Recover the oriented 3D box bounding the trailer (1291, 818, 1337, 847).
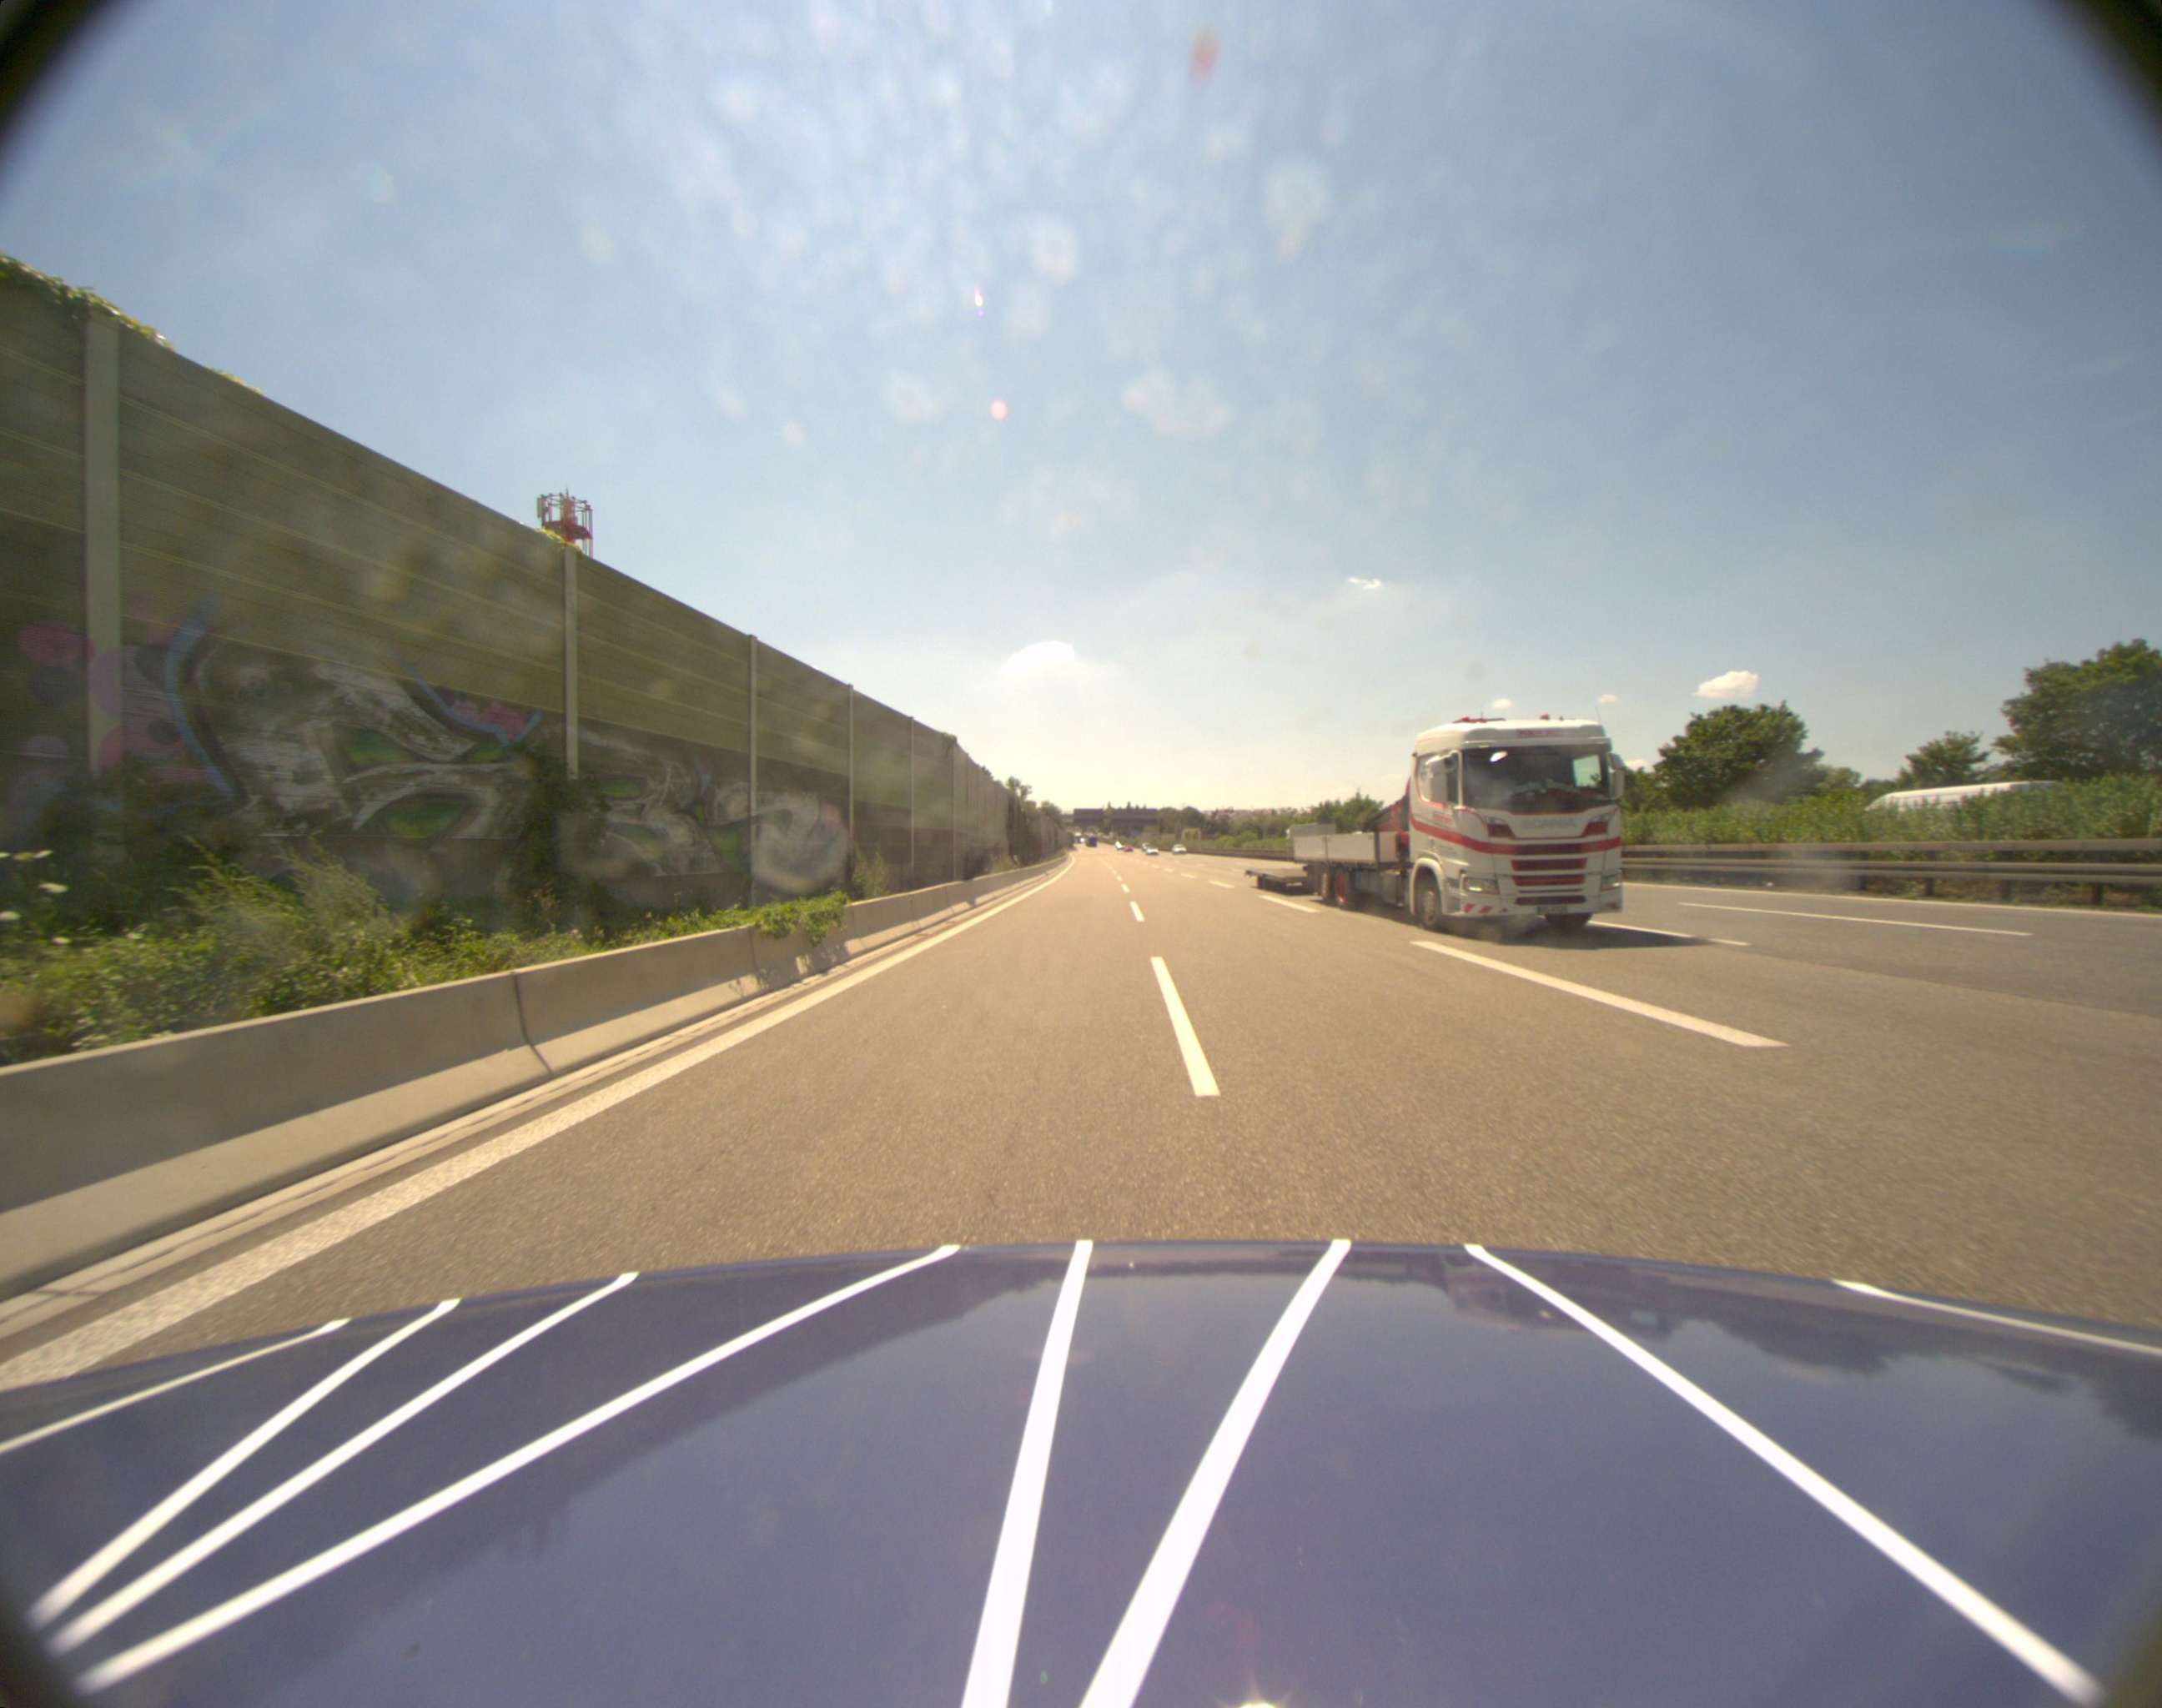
[{"bbox_3d":[34.731,-3.048,113.940,2.544,3.924,13.719,-2,0,-1],"label":"trailer"}]

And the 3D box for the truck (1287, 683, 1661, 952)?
[{"bbox_3d":[7.112,-0.547,16.299,2.721,3.780,10.672,-2,0,2],"label":"truck"}]

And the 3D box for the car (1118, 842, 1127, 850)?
[{"bbox_3d":[10.330,-2.023,190.515,1.998,1.832,4.000,-2,0,2],"label":"car"}]

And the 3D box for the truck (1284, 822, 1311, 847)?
[{"bbox_3d":[34.657,-3.095,121.690,2.544,3.924,5.165,-2,1,-1],"label":"truck"}]

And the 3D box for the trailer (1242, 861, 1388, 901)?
[{"bbox_3d":[7.478,0.794,25.478,2.721,0.929,7.760,-2,0,2],"label":"trailer"}]

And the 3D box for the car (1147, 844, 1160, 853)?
[{"bbox_3d":[12.147,-0.967,127.507,1.786,1.494,4.170,-1,1,0],"label":"car"}]

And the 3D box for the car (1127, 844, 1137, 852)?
[{"bbox_3d":[11.217,-1.345,168.483,1.998,1.832,4.000,-2,0,2],"label":"car"}]

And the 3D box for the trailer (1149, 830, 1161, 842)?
[{"bbox_3d":[25.262,-6.111,260.961,2.931,3.945,8.655,-2,1,-2],"label":"trailer"}]

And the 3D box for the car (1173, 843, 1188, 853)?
[{"bbox_3d":[16.317,-1.032,124.549,1.883,1.543,4.001,-2,0,2],"label":"car"}]

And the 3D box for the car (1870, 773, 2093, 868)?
[{"bbox_3d":[27.743,-0.955,23.668,1.845,2.631,4.317,-2,0,1],"label":"car"}]

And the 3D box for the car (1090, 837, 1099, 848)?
[{"bbox_3d":[4.159,-3.706,239.753,2.116,3.284,6.442,-2,0,-4],"label":"car"}]
